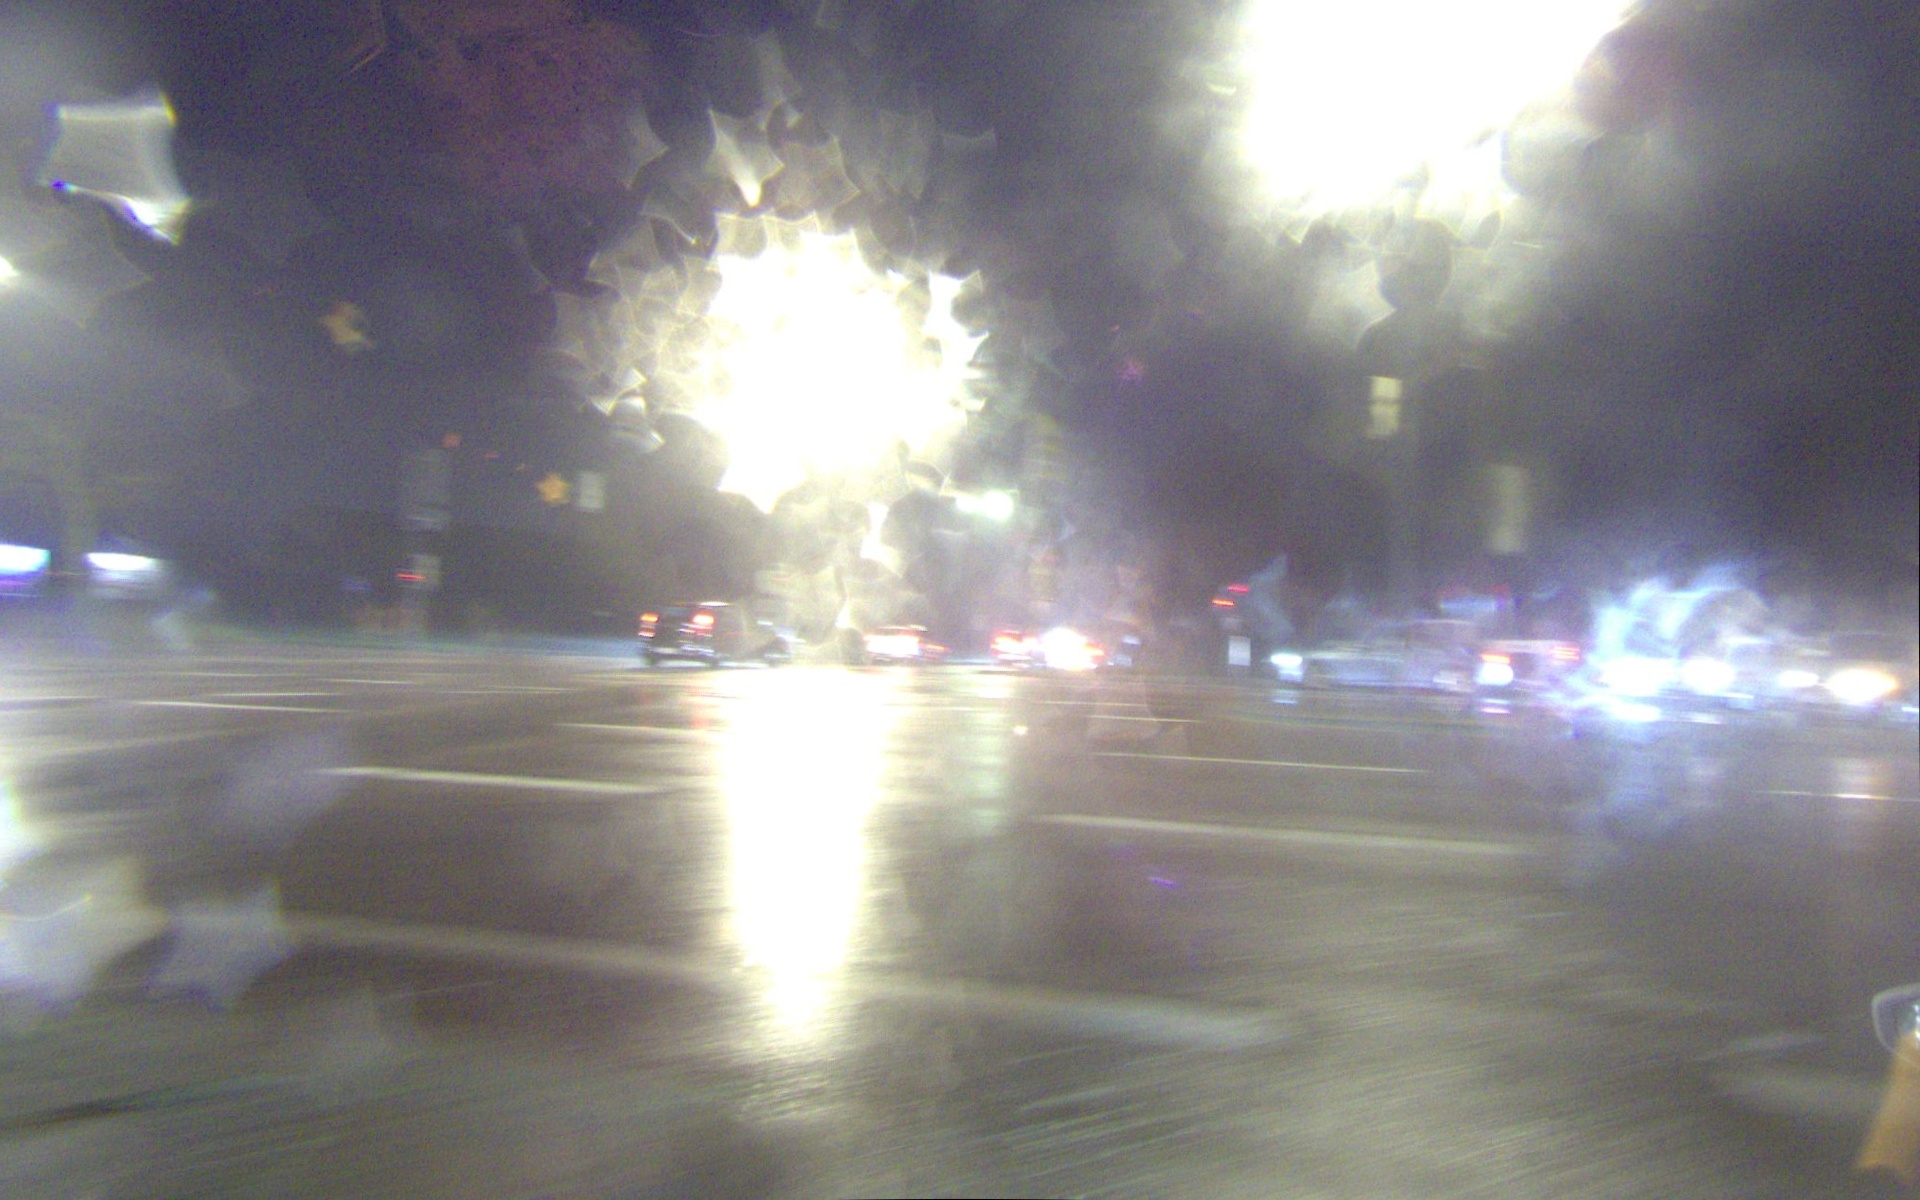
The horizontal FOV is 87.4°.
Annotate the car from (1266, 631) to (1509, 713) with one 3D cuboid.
[{"bbox_3d":[9.461,1.564,22.611,4.706,1.446,1.767,3,-1,12],"label":"car"}]

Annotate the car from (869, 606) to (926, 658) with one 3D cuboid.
[{"bbox_3d":[-2.354,1.127,36.964,1.711,1.455,4.285,7,1,-7],"label":"car"}]

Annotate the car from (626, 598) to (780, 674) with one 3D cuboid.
[{"bbox_3d":[-5.719,0.736,22.889,1.799,1.427,4.123,3,1,10],"label":"car"}]

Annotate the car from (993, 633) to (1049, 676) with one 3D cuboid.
[{"bbox_3d":[2.699,2.321,43.510,1.819,1.612,4.026,3,-1,11],"label":"car"}]

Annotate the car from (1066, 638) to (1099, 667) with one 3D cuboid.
[{"bbox_3d":[8.405,3.579,68.889,1.797,1.675,4.482,4,1,11],"label":"car"}]

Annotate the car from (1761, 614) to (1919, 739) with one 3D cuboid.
[{"bbox_3d":[14.646,1.135,14.961,3.822,1.748,1.766,1,0,13],"label":"car"}]

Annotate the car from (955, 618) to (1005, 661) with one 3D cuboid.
[{"bbox_3d":[1.201,2.293,59.687,1.746,2.107,3.999,3,4,19],"label":"car"}]

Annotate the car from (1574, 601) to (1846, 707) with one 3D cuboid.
[{"bbox_3d":[15.830,1.086,21.426,4.197,1.873,1.766,3,1,11],"label":"car"}]

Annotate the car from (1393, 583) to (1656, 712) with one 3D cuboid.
[{"bbox_3d":[14.188,1.098,25.693,5.504,2.746,2.254,4,1,26],"label":"car"}]

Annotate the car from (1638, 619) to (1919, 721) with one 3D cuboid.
[{"bbox_3d":[14.814,1.210,18.026,3.976,1.507,1.719,3,-1,15],"label":"car"}]

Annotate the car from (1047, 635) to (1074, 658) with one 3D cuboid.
[{"bbox_3d":[8.790,4.008,87.542,1.797,1.662,4.002,4,1,12],"label":"car"}]
